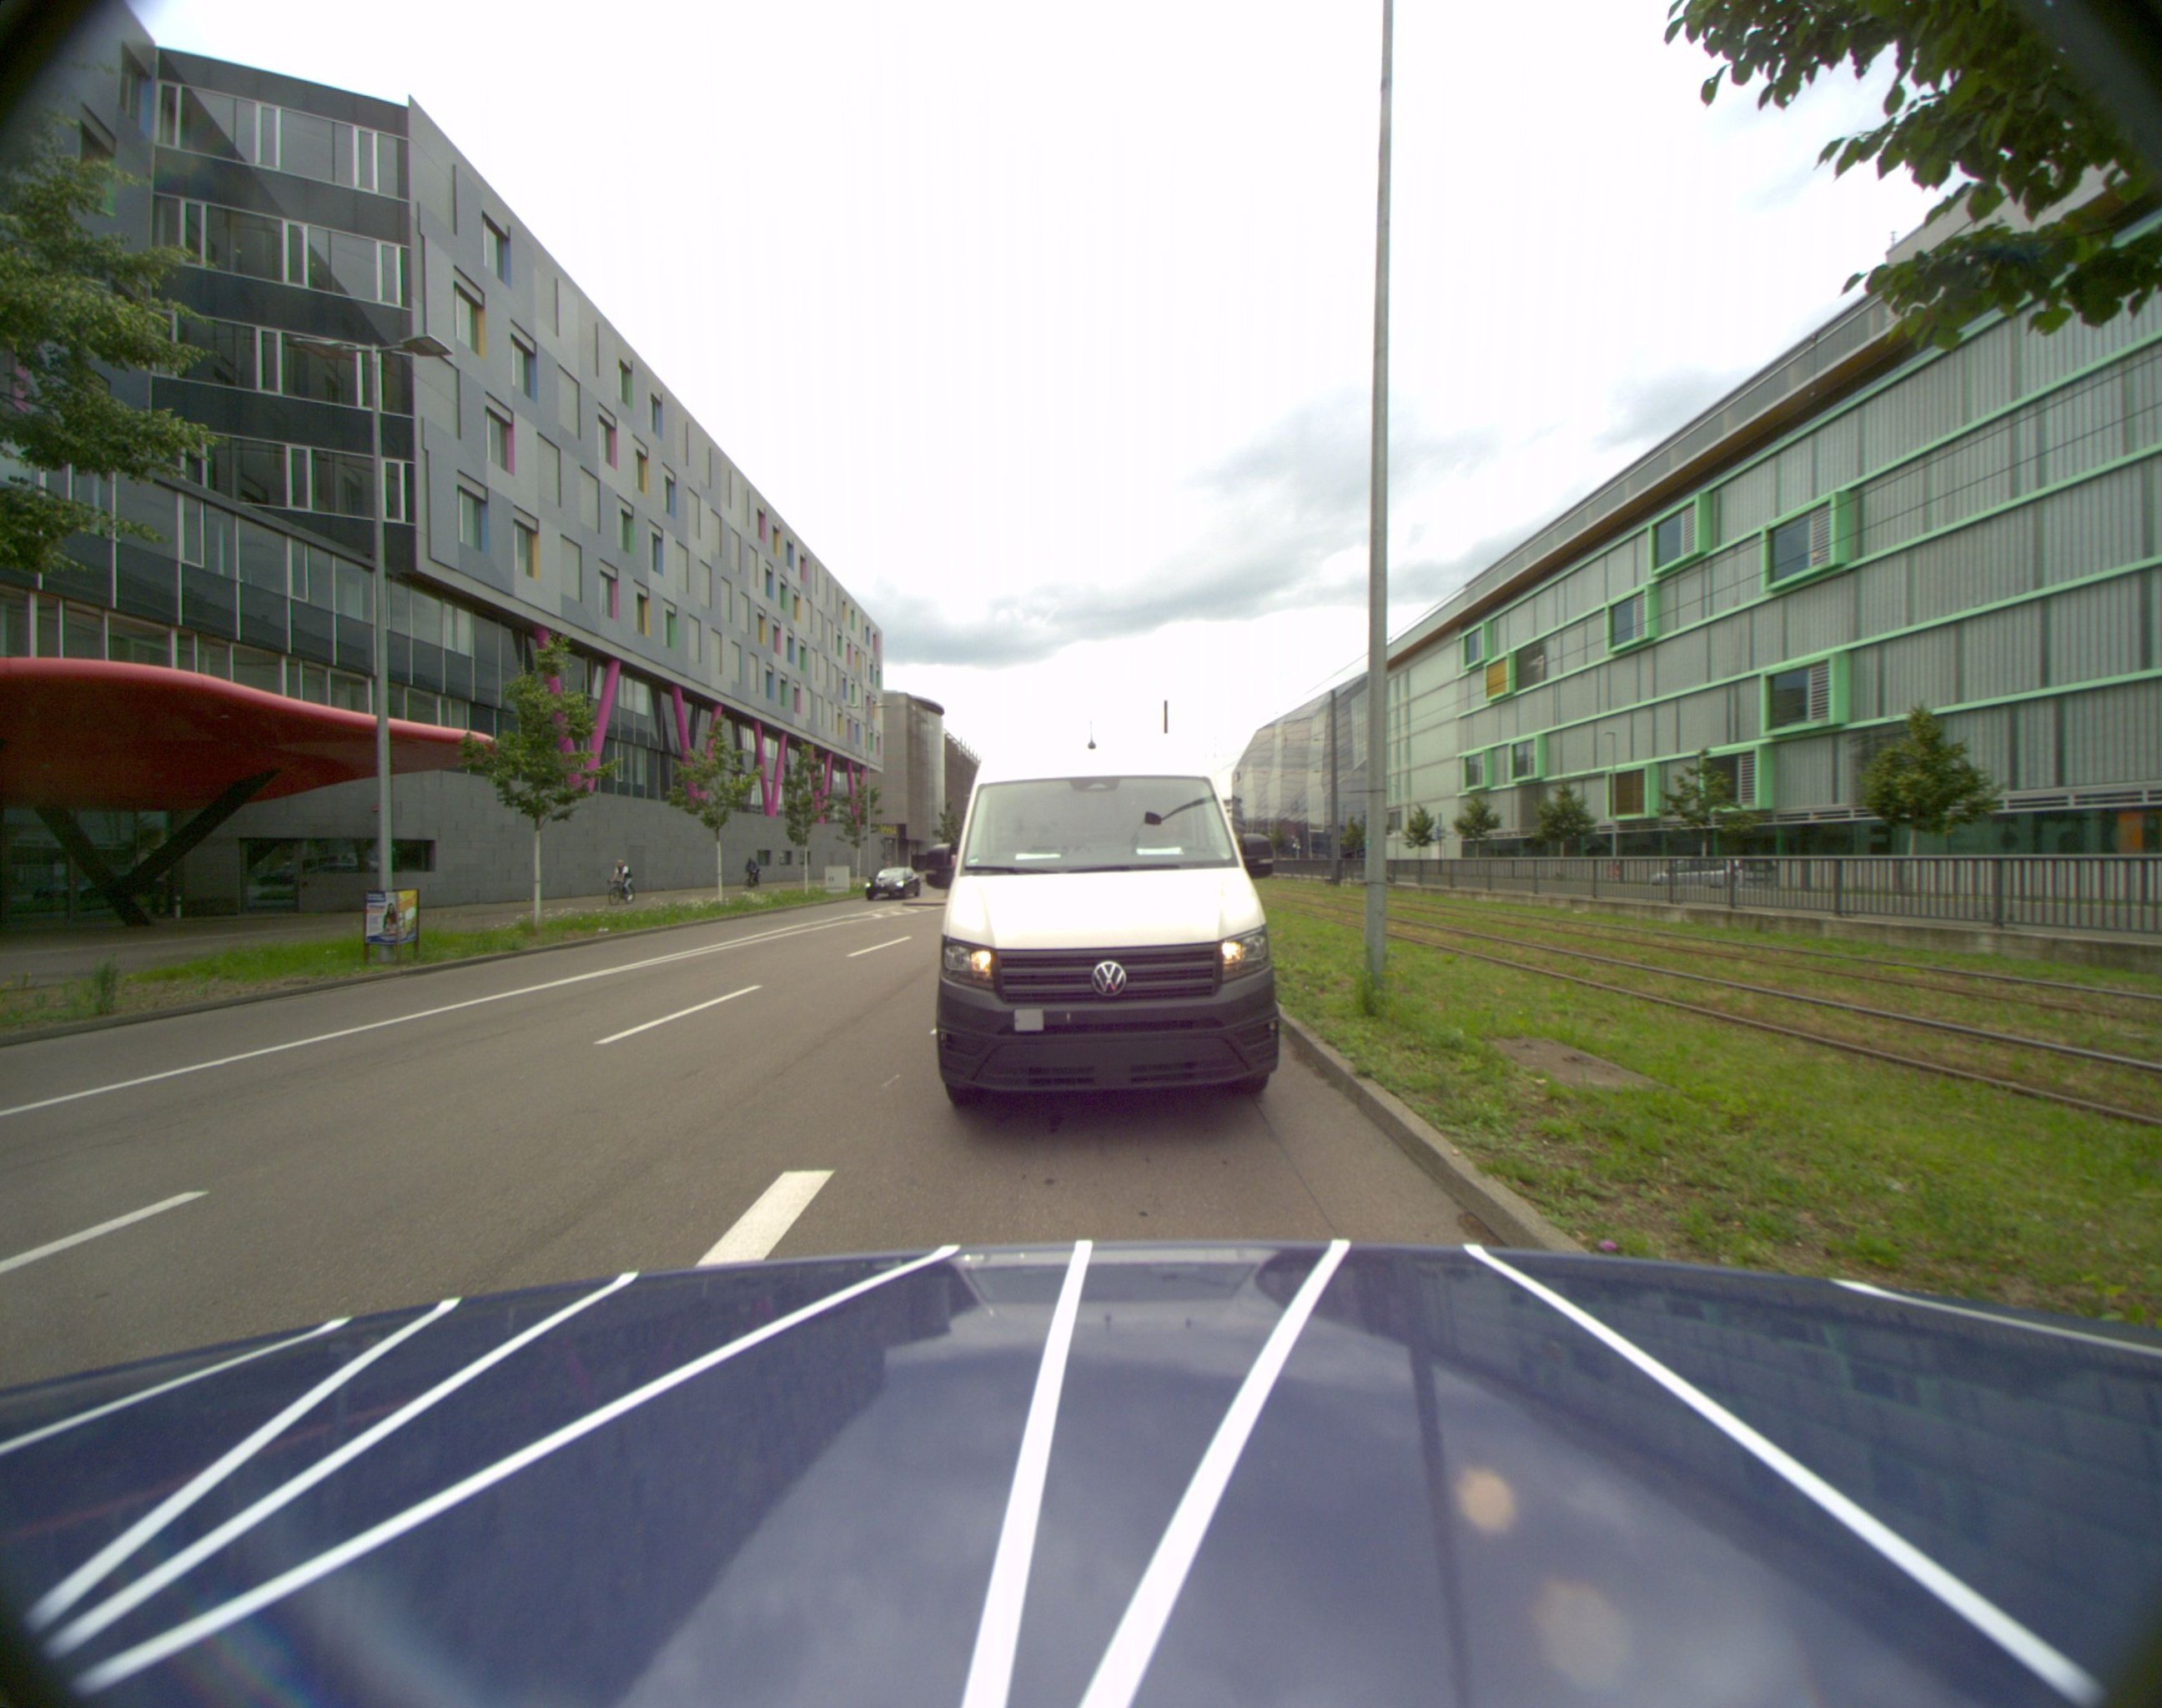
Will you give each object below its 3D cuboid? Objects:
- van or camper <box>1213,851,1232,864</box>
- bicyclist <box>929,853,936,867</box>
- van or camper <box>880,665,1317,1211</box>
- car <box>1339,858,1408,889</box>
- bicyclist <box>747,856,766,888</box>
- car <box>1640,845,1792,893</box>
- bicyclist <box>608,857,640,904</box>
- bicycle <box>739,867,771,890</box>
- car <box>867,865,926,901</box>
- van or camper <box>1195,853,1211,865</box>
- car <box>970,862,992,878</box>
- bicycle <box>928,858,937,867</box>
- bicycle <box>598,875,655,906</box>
[{"bbox_3d":[24.211,0.595,130.156,2.178,2.273,5.359,-1,0,1],"label":"van or camper"},{"bbox_3d":[-19.424,0.819,99.395,0.772,1.776,0.974,0,0,-1],"label":"bicyclist"},{"bbox_3d":[0.090,0.408,6.151,2.043,2.572,5.041,-1,0,0],"label":"van or camper"},{"bbox_3d":[16.238,1.031,42.499,1.969,1.579,4.688,-1,0,-1],"label":"car"},{"bbox_3d":[-18.259,1.022,42.724,0.784,1.790,0.705,-2,-4,0],"label":"bicyclist"},{"bbox_3d":[23.723,0.487,28.659,1.801,1.562,4.577,-3,1,-1],"label":"car"},{"bbox_3d":[-17.898,1.035,29.788,0.784,1.792,0.705,-2,0,0],"label":"bicyclist"},{"bbox_3d":[-18.255,1.380,42.646,0.801,1.150,2.346,-2,-4,0],"label":"bicycle"},{"bbox_3d":[-8.305,1.273,34.544,1.567,1.453,4.342,-1,0,1],"label":"car"},{"bbox_3d":[24.242,0.969,151.533,2.178,2.273,6.507,-2,0,1],"label":"van or camper"},{"bbox_3d":[-10.270,1.624,78.297,1.567,1.452,4.342,-2,0,1],"label":"car"},{"bbox_3d":[-19.412,1.068,99.118,0.785,1.187,2.220,0,0,-1],"label":"bicycle"},{"bbox_3d":[-17.892,1.408,29.964,0.801,1.151,2.345,-2,-1,0],"label":"bicycle"}]
